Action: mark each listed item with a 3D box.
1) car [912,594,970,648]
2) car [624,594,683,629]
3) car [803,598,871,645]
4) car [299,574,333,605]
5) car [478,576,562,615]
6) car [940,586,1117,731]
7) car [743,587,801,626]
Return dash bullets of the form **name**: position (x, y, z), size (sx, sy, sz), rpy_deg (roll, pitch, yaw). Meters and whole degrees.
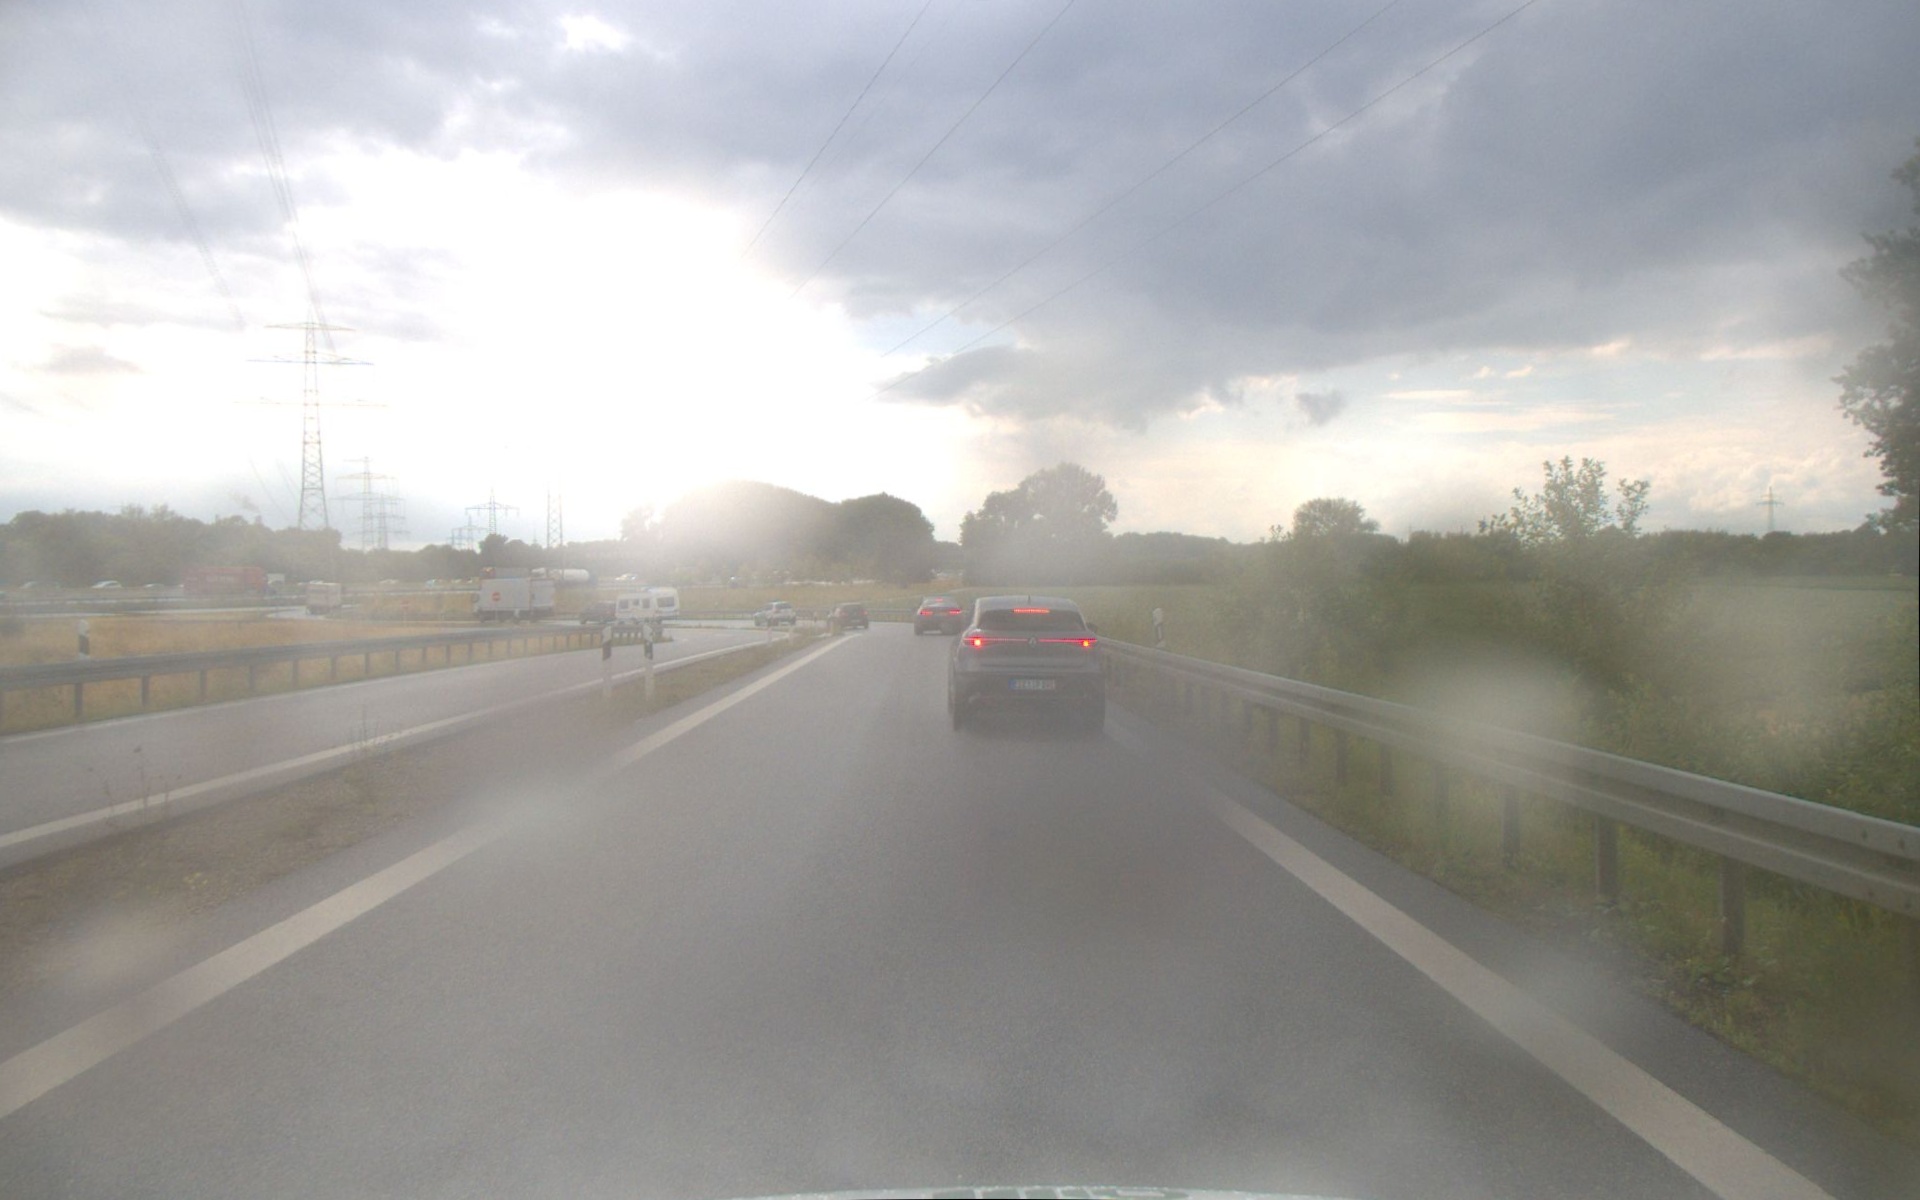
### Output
- **car**: position (-0.827, 0.834, 67.964), size (2.079, 2.053, 5.530), rpy_deg (-1, 1, -4)
- **car**: position (-23.028, 0.858, 124.114), size (2.334, 2.346, 5.061), rpy_deg (-2, 3, -37)
- **car**: position (-7.075, 1.184, 94.593), size (2.320, 2.346, 5.092), rpy_deg (-1, 3, -23)
- **car**: position (-78.147, -1.246, 200.773), size (3.332, 3.673, 8.996), rpy_deg (-1, 0, -19)
- **car**: position (-36.959, -0.378, 138.826), size (7.065, 3.002, 3.135), rpy_deg (2, 3, 36)
- **car**: position (0.806, 0.636, 20.572), size (1.952, 1.594, 4.150), rpy_deg (1, 0, 1)
- **car**: position (-12.719, 0.420, 111.498), size (2.323, 2.346, 5.085), rpy_deg (-2, 3, -27)
